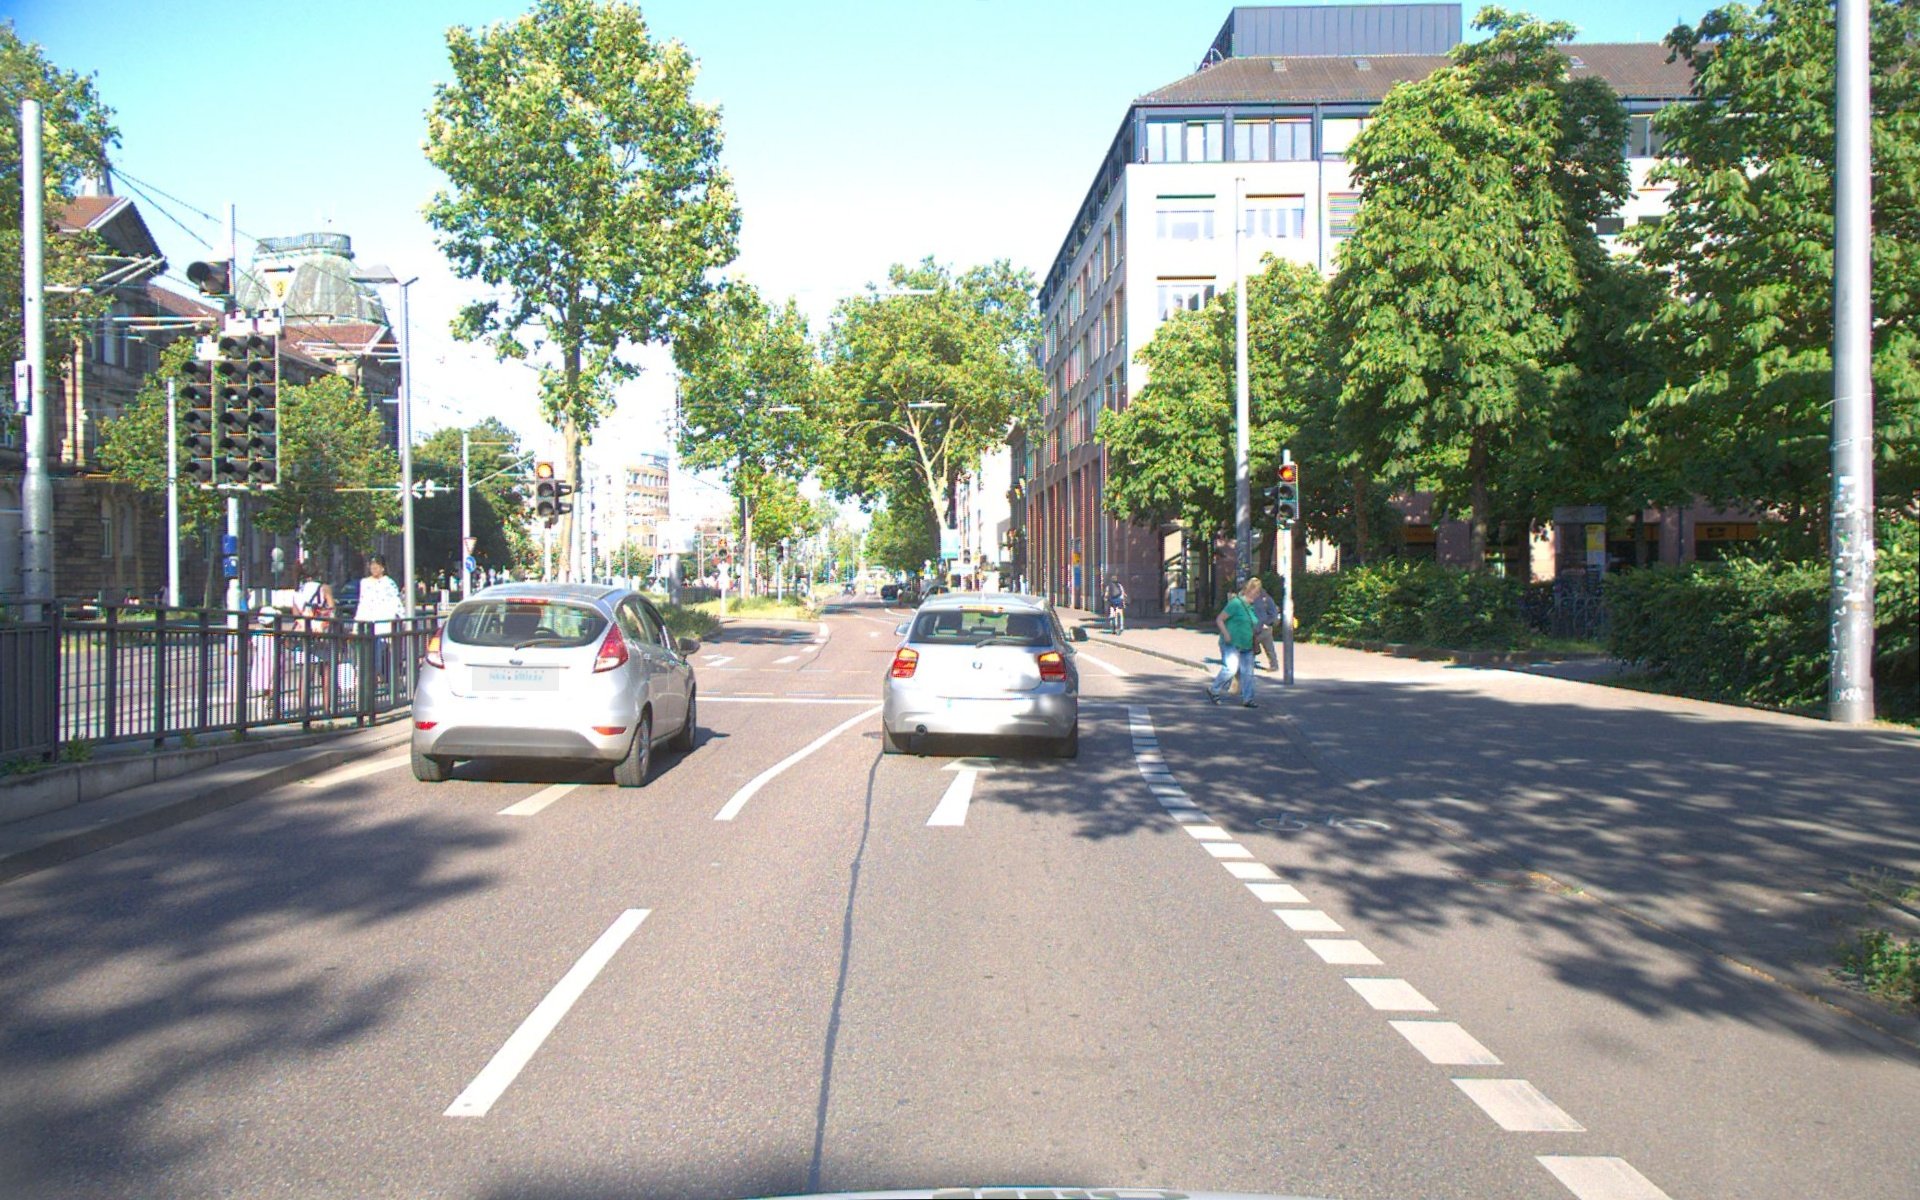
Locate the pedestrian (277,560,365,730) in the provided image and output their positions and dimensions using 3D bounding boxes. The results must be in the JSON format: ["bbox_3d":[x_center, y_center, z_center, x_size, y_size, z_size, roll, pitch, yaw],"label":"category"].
[{"bbox_3d":[-6.084,0.416,15.779,0.619,1.584,0.646,0,0,-7],"label":"pedestrian"}]

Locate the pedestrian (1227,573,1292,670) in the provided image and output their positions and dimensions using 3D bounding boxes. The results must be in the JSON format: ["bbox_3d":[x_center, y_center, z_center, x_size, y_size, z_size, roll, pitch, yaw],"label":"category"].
[{"bbox_3d":[5.202,0.370,28.715,0.929,1.657,0.624,0,0,-25],"label":"pedestrian"}]

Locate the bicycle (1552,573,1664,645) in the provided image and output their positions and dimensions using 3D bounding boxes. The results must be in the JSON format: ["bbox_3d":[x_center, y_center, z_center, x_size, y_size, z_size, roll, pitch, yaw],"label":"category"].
[{"bbox_3d":[12.769,0.175,32.612,1.955,1.337,0.574,-2,0,0],"label":"bicycle"}]

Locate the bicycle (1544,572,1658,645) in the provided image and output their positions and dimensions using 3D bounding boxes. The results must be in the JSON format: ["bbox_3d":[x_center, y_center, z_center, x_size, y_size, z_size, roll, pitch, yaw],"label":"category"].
[{"bbox_3d":[12.389,0.158,31.998,1.955,1.337,0.574,-2,0,0],"label":"bicycle"}]

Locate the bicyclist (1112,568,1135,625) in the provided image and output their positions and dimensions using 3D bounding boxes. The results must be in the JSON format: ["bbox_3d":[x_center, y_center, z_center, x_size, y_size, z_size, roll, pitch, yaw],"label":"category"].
[{"bbox_3d":[4.888,-0.119,49.467,0.644,1.686,0.765,-1,0,6],"label":"bicyclist"}]

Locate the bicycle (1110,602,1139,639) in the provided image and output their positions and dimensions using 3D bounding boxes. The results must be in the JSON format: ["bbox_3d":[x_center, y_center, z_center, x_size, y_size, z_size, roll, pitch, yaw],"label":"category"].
[{"bbox_3d":[4.917,0.609,49.437,0.814,1.059,1.876,-1,1,6],"label":"bicycle"}]

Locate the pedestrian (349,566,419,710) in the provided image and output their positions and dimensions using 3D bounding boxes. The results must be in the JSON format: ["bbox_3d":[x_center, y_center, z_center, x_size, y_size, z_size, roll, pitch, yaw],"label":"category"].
[{"bbox_3d":[-6.729,0.444,19.342,0.627,1.648,0.640,-1,-2,-6],"label":"pedestrian"}]

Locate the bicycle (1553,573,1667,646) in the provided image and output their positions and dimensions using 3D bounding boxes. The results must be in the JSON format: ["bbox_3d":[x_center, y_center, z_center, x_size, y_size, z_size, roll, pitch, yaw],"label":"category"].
[{"bbox_3d":[12.607,0.176,32.098,1.955,1.337,0.574,-2,0,0],"label":"bicycle"}]

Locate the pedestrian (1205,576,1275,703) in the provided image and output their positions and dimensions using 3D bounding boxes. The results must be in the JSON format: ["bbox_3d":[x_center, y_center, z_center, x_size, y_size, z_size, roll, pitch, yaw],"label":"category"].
[{"bbox_3d":[3.589,0.497,21.250,0.812,1.603,0.739,0,0,4],"label":"pedestrian"}]

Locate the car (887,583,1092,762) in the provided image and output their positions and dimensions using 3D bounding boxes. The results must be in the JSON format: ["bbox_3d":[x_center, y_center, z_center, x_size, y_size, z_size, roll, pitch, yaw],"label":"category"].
[{"bbox_3d":[0.314,0.586,15.808,1.694,1.414,3.841,1,1,2],"label":"car"}]

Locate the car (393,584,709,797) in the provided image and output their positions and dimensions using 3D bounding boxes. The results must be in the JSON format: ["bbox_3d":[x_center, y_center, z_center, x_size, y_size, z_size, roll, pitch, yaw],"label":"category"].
[{"bbox_3d":[-3.068,0.612,13.126,1.626,1.434,3.631,1,0,-1],"label":"car"}]
